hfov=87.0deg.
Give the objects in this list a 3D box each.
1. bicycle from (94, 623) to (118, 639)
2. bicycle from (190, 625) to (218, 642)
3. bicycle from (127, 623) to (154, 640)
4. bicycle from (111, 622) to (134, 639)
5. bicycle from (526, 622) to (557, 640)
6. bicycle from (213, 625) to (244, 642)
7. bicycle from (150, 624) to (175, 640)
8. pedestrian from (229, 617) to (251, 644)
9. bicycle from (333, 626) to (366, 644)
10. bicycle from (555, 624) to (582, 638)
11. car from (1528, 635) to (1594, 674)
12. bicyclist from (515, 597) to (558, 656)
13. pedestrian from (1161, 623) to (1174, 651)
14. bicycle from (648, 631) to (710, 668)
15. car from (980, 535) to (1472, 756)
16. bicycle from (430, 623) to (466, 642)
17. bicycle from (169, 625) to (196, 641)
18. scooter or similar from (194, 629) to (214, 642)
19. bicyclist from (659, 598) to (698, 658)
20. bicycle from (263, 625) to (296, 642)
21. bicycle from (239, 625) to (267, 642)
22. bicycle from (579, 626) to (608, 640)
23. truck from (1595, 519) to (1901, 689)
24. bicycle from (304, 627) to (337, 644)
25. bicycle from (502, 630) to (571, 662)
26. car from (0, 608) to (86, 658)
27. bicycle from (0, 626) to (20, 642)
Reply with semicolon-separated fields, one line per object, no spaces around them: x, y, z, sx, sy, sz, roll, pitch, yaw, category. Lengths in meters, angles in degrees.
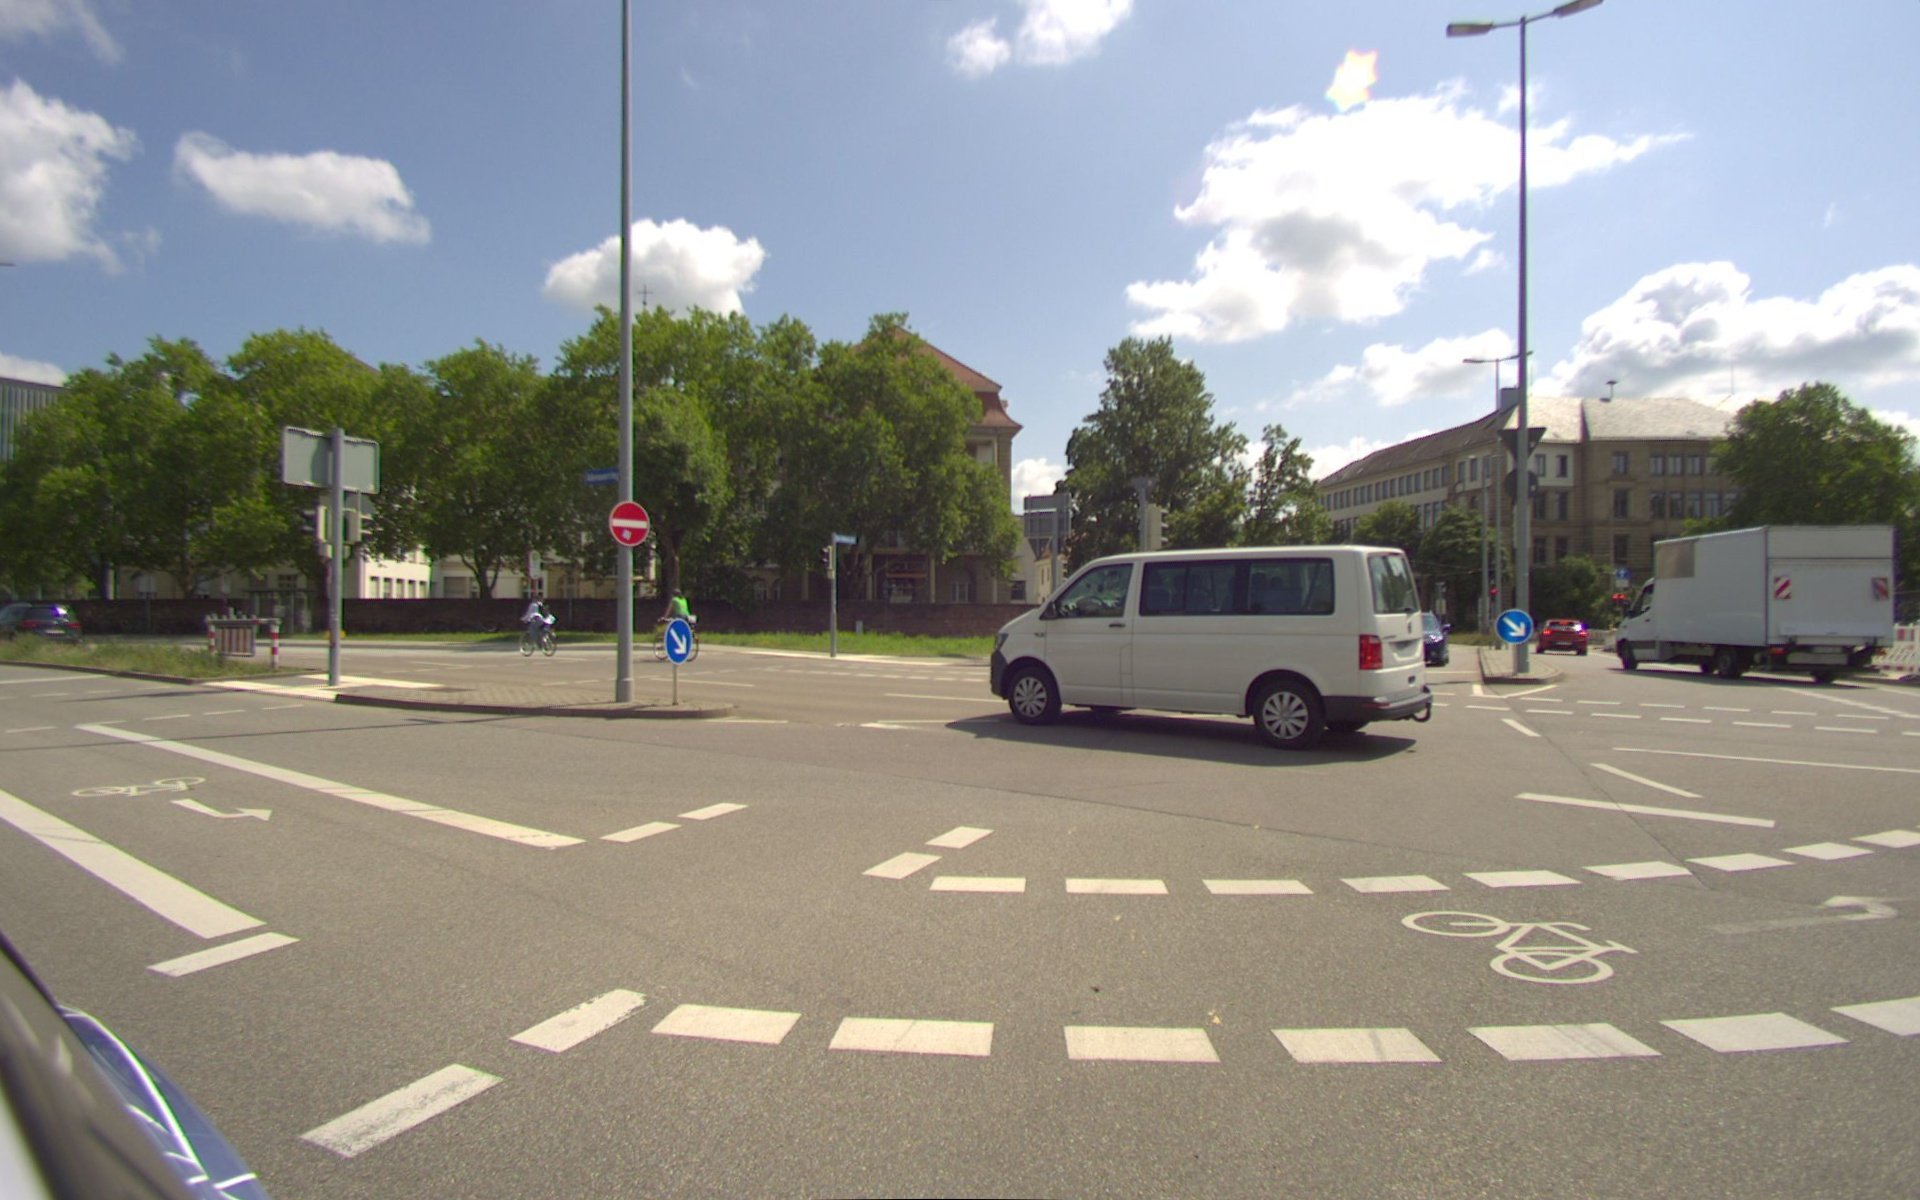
-55.370;2.016;65.608;1.656;1.051;0.380;0;-1;18;bicycle
-47.202;2.066;63.192;1.745;1.051;0.396;0;-1;15;bicycle
-52.353;2.000;64.657;1.746;1.051;0.396;0;-1;17;bicycle
-53.896;1.956;65.132;1.404;1.051;0.375;0;-1;17;bicycle
-24.551;1.810;59.380;1.665;1.038;0.397;0;-1;4;bicycle
-45.330;2.050;62.701;1.939;1.051;0.396;0;-1;14;bicycle
-50.590;2.030;64.185;1.569;1.051;0.396;0;-1;17;bicycle
-43.047;1.836;60.492;0.770;1.623;0.722;0;-1;1;pedestrian
-36.677;2.091;60.782;1.937;1.051;0.396;0;-1;11;bicycle
-22.940;1.828;59.290;1.447;0.795;0.397;0;-1;4;bicycle
24.750;2.223;41.791;1.990;1.497;3.870;-1;-2;26;car
-12.042;0.757;28.779;0.840;1.631;0.770;-1;-2;33;bicyclist
12.741;2.243;62.075;0.669;1.708;0.489;0;0;-9;pedestrian
-7.055;1.217;25.359;1.740;0.896;0.562;-1;-2;37;bicycle
2.694;0.453;11.037;4.865;1.909;1.862;-1;-2;40;car
-30.371;1.930;59.979;2.014;1.146;0.397;0;-1;7;bicycle
-48.939;2.057;63.693;1.746;1.011;0.396;0;-1;17;bicycle
-46.596;2.176;62.367;1.056;0.800;0.352;0;-1;6;scooter or similar
-7.057;0.699;25.378;0.835;1.473;0.560;-1;-2;37;bicyclist
-41.661;2.052;61.932;1.937;1.051;0.396;0;-1;11;bicycle
-43.508;2.046;62.314;1.622;1.051;0.396;0;-1;11;bicycle
-21.437;1.923;59.175;1.524;0.795;0.397;0;-1;4;bicycle
16.691;0.061;22.161;1.977;3.090;7.309;0;0;9;truck
-38.647;2.133;61.203;1.937;1.051;0.396;0;-1;11;bicycle
-12.064;1.292;28.781;2.102;0.896;0.770;-1;-2;34;bicycle
-32.280;1.116;35.071;4.140;1.636;1.867;-1;-1;31;car
-64.972;2.317;69.182;1.658;1.116;0.380;0;-2;22;bicycle
